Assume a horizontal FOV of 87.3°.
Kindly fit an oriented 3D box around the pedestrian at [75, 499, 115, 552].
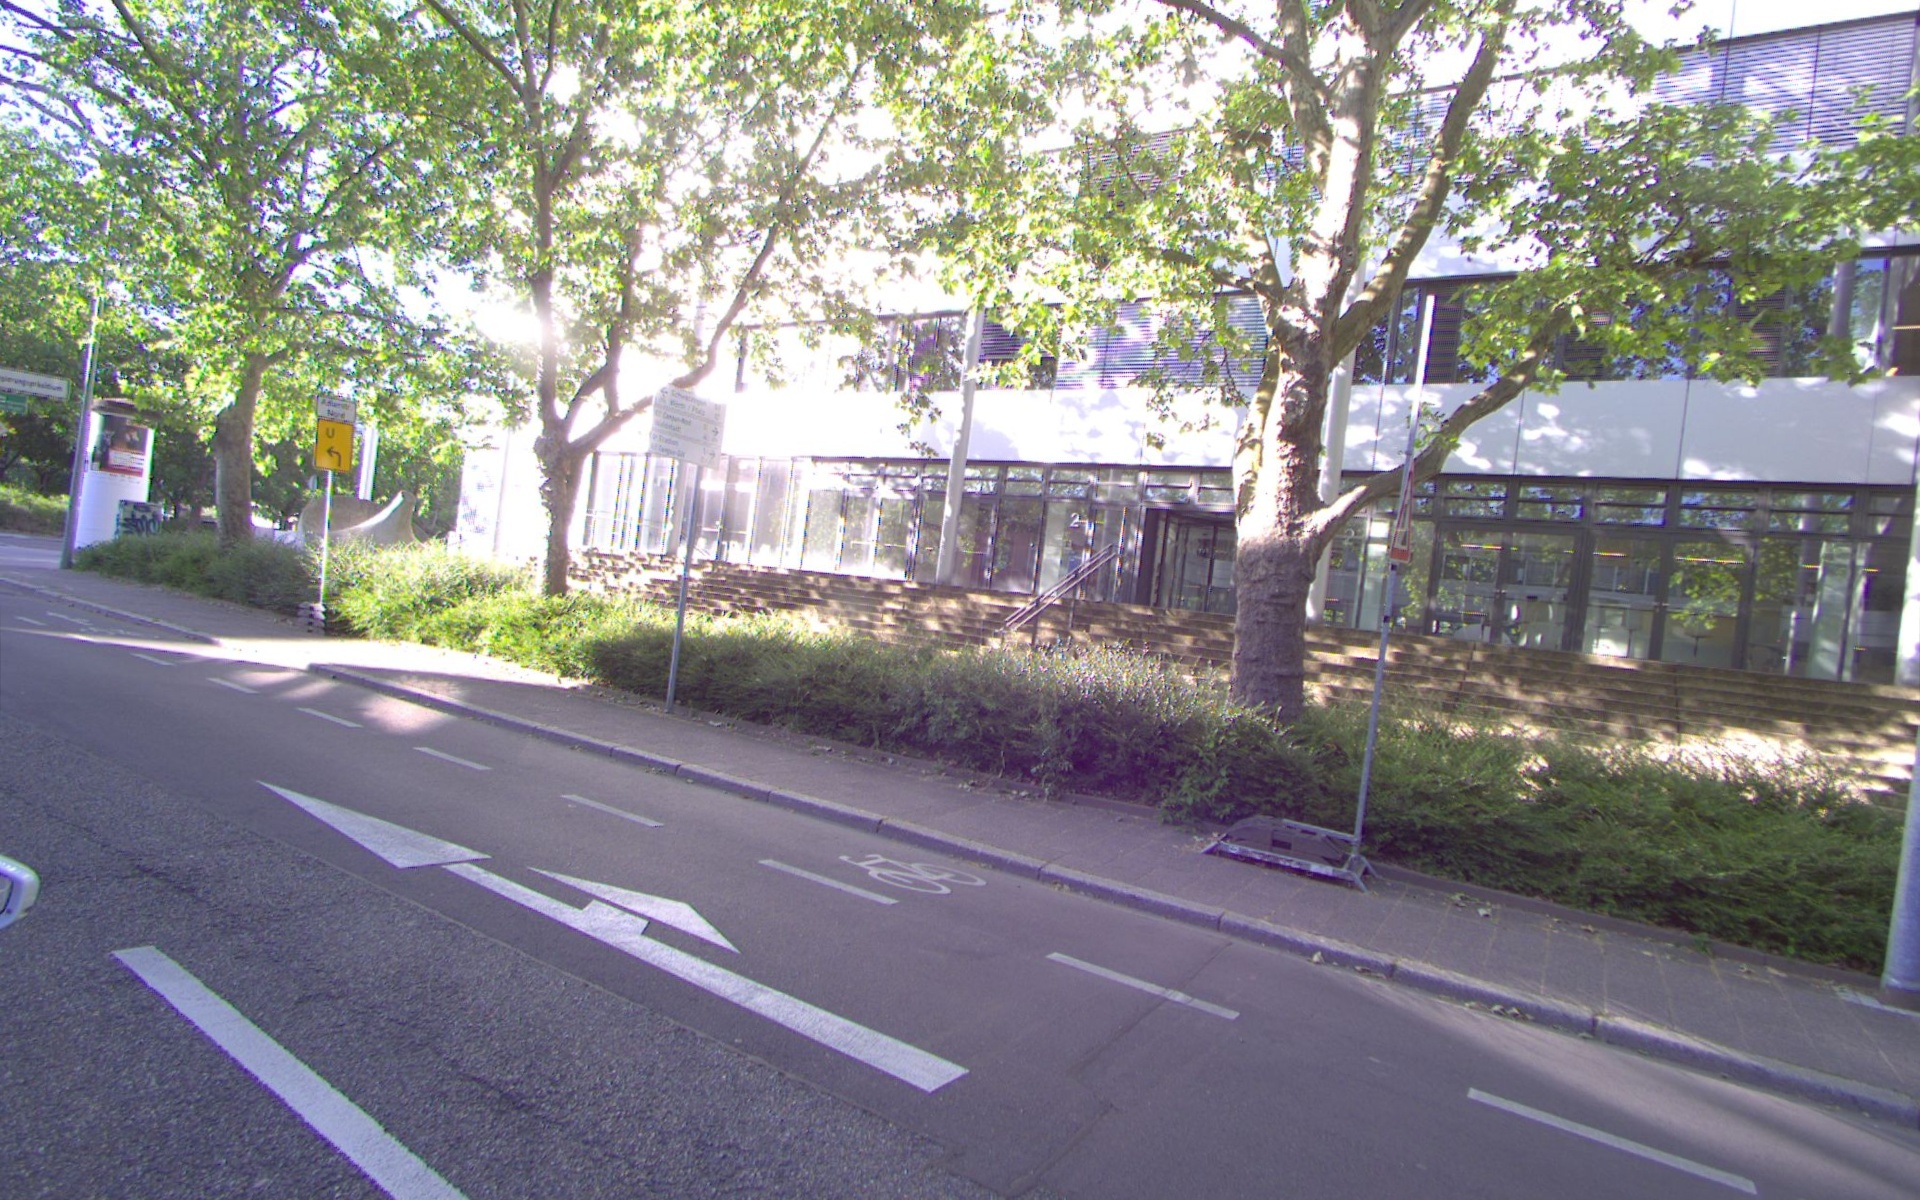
[{"bbox_3d":[-31.760,-2.733,36.951,0.717,1.799,0.737,7,-1,27],"label":"pedestrian"}]
